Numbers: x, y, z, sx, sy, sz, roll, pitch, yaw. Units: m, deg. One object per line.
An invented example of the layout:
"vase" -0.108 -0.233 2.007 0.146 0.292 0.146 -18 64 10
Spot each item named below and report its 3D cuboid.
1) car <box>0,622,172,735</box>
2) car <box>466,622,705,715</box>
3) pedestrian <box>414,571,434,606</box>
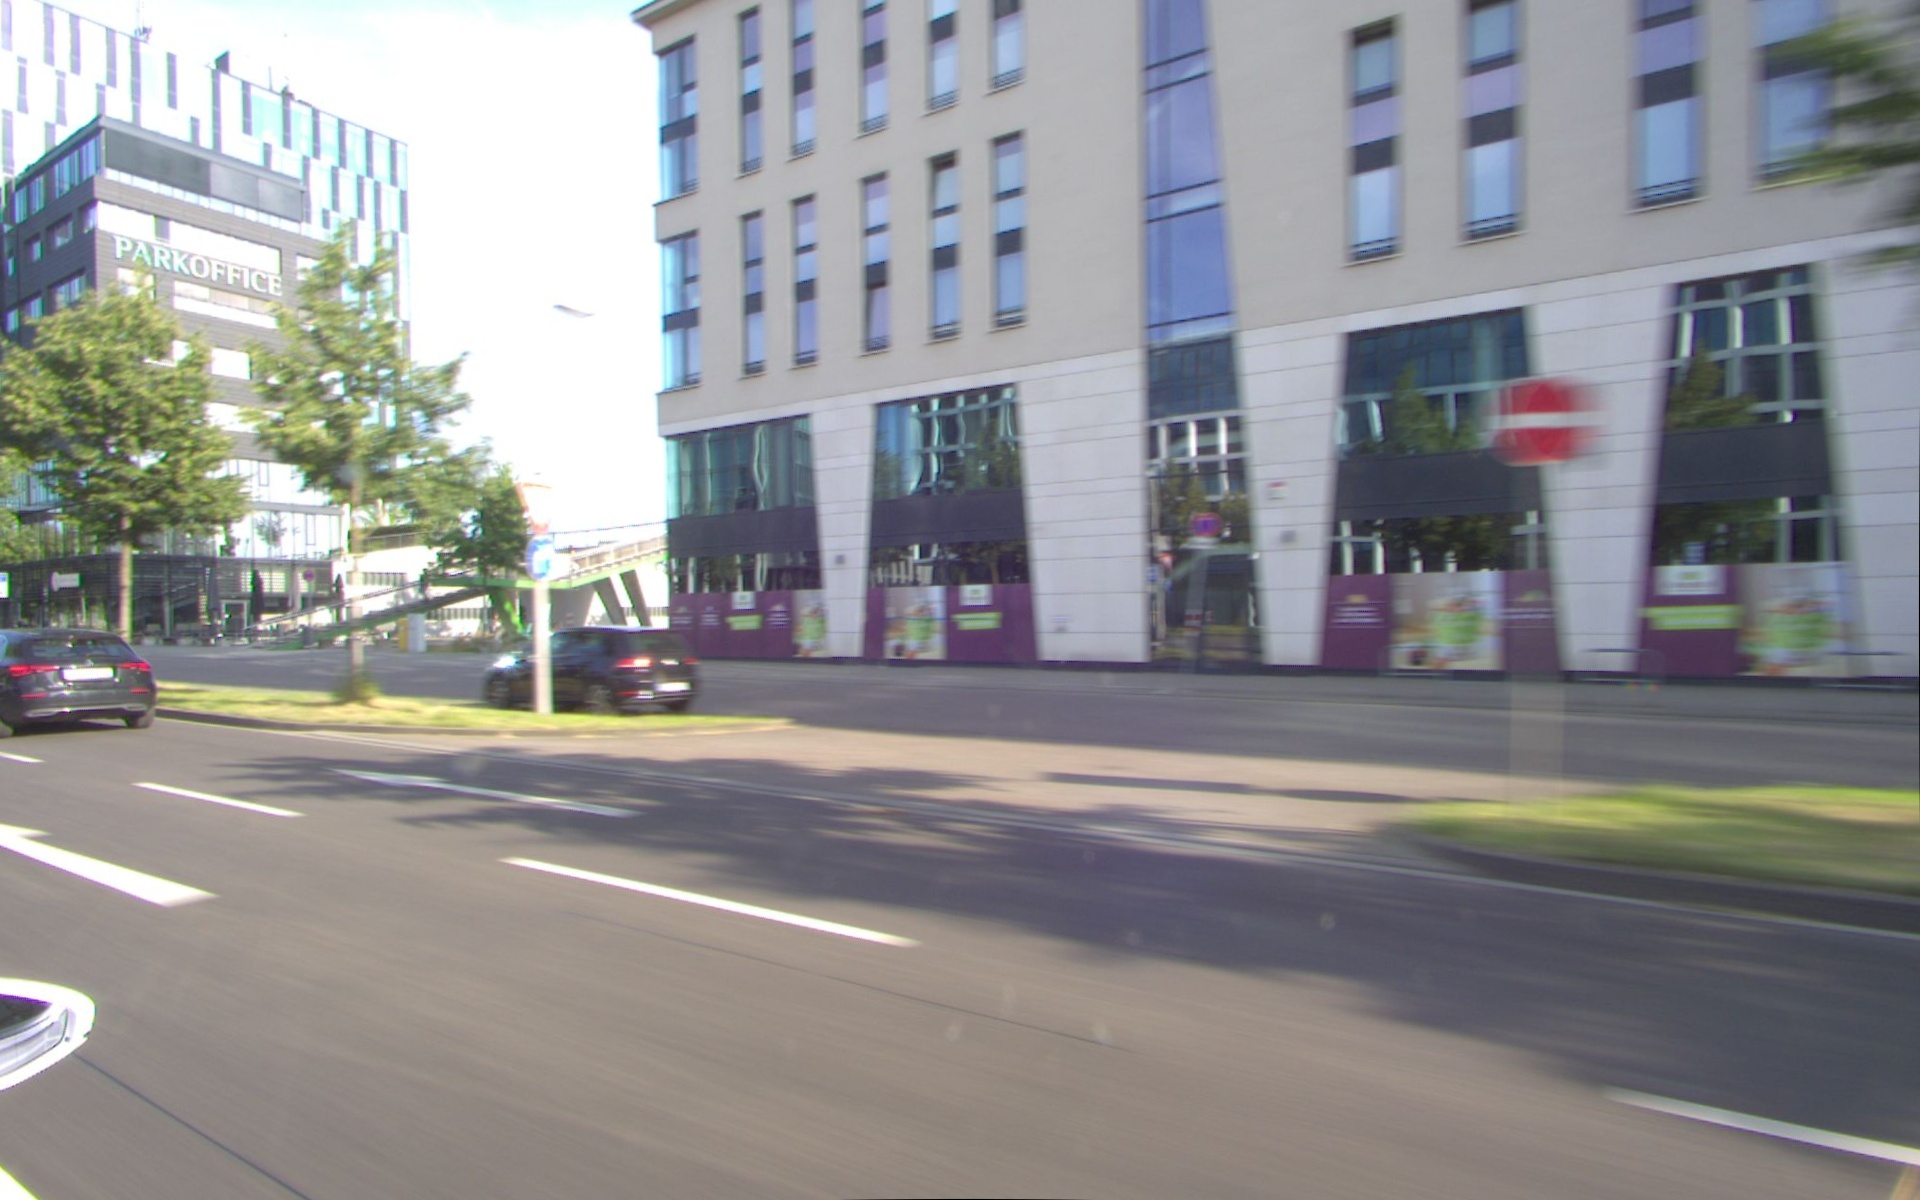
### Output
"car" -13.389 1.081 14.636 3.905 1.442 1.771 -1 -2 33
"car" -6.310 1.101 16.747 4.098 1.388 1.604 -1 -2 32
"pedestrian" -27.082 -0.584 50.607 0.689 1.713 0.779 1 -2 -45
